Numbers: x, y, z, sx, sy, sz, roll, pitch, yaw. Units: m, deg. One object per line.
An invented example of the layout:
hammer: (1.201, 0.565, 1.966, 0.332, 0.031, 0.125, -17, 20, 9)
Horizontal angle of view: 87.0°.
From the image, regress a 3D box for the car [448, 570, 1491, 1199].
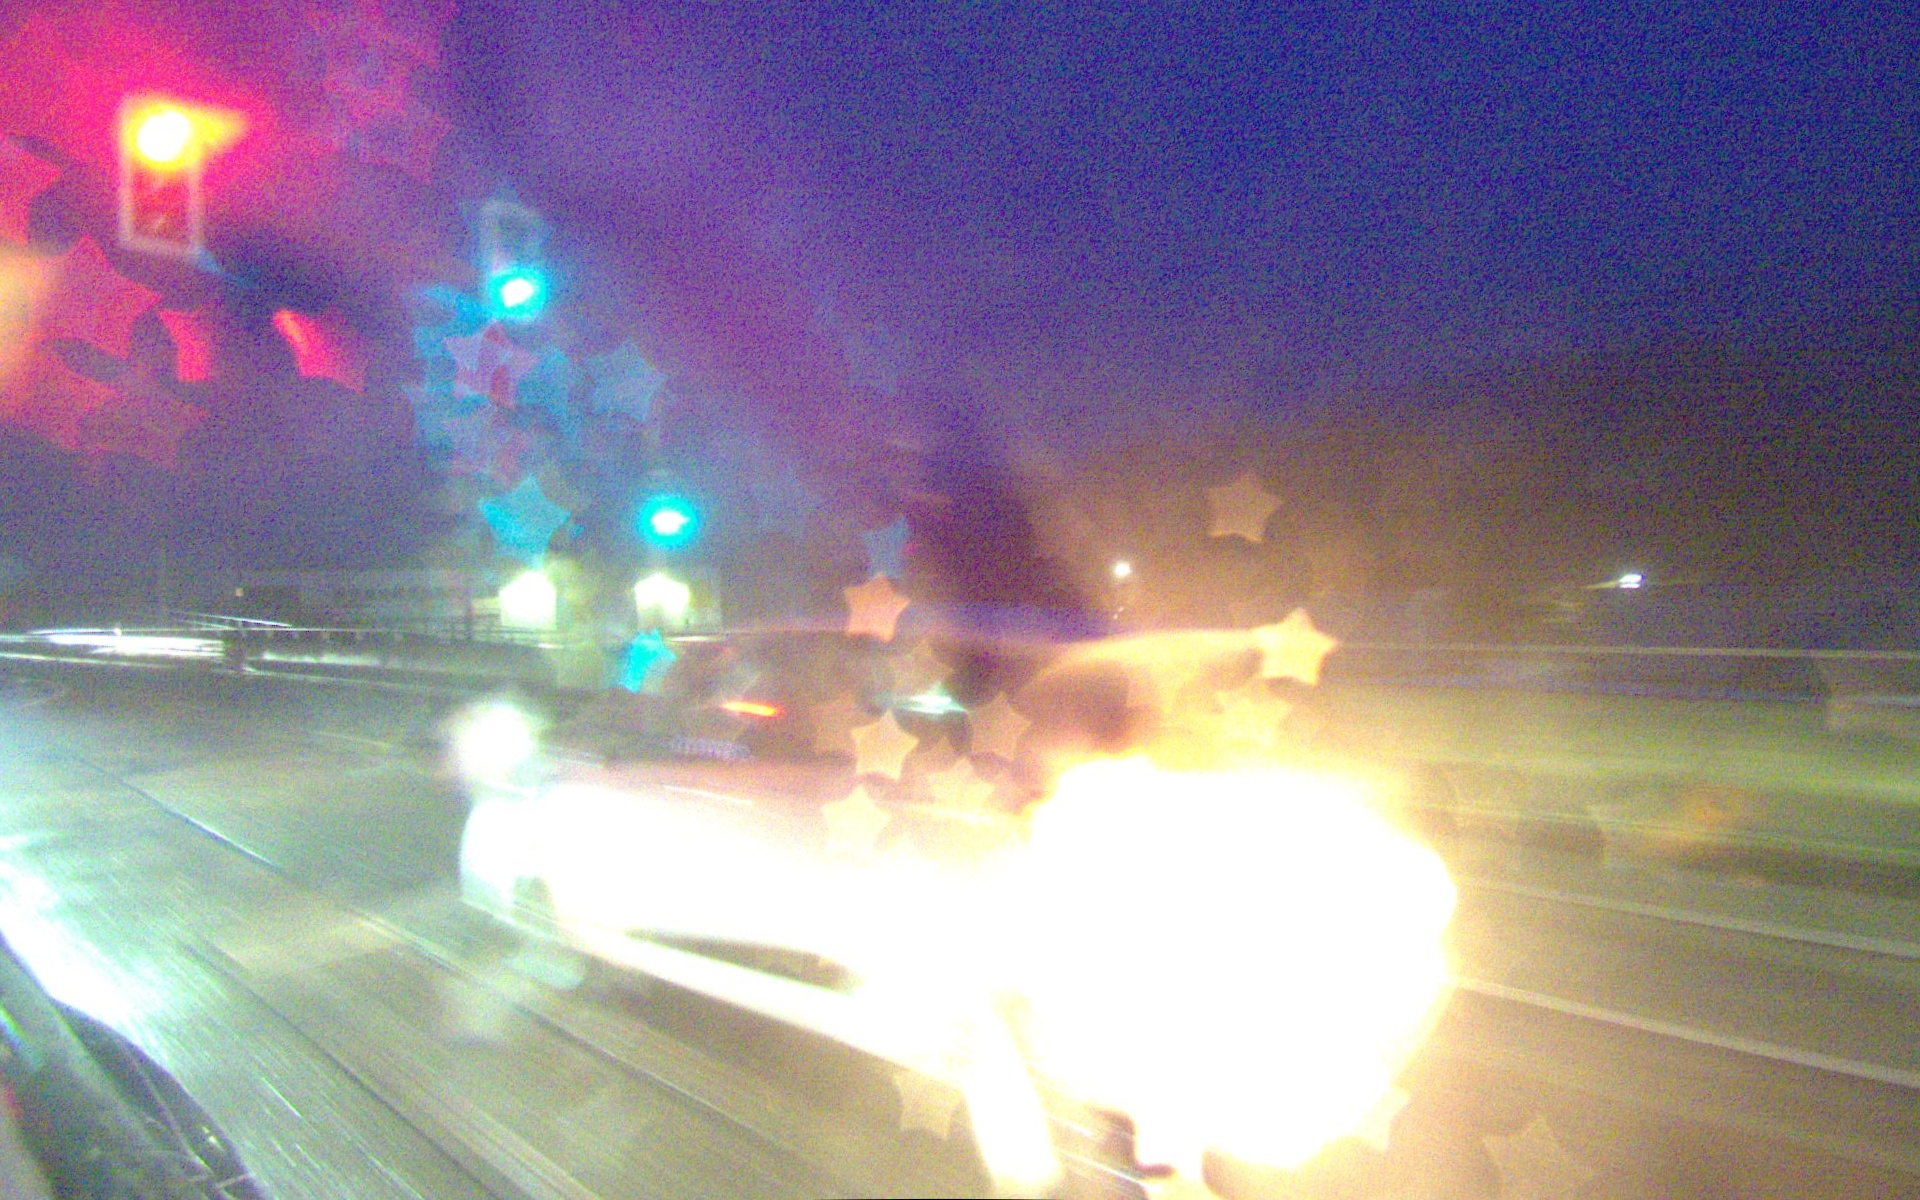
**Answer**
car: (-0.210, 0.716, 3.765, 3.628, 1.484, 1.653, -1, -1, 38)
